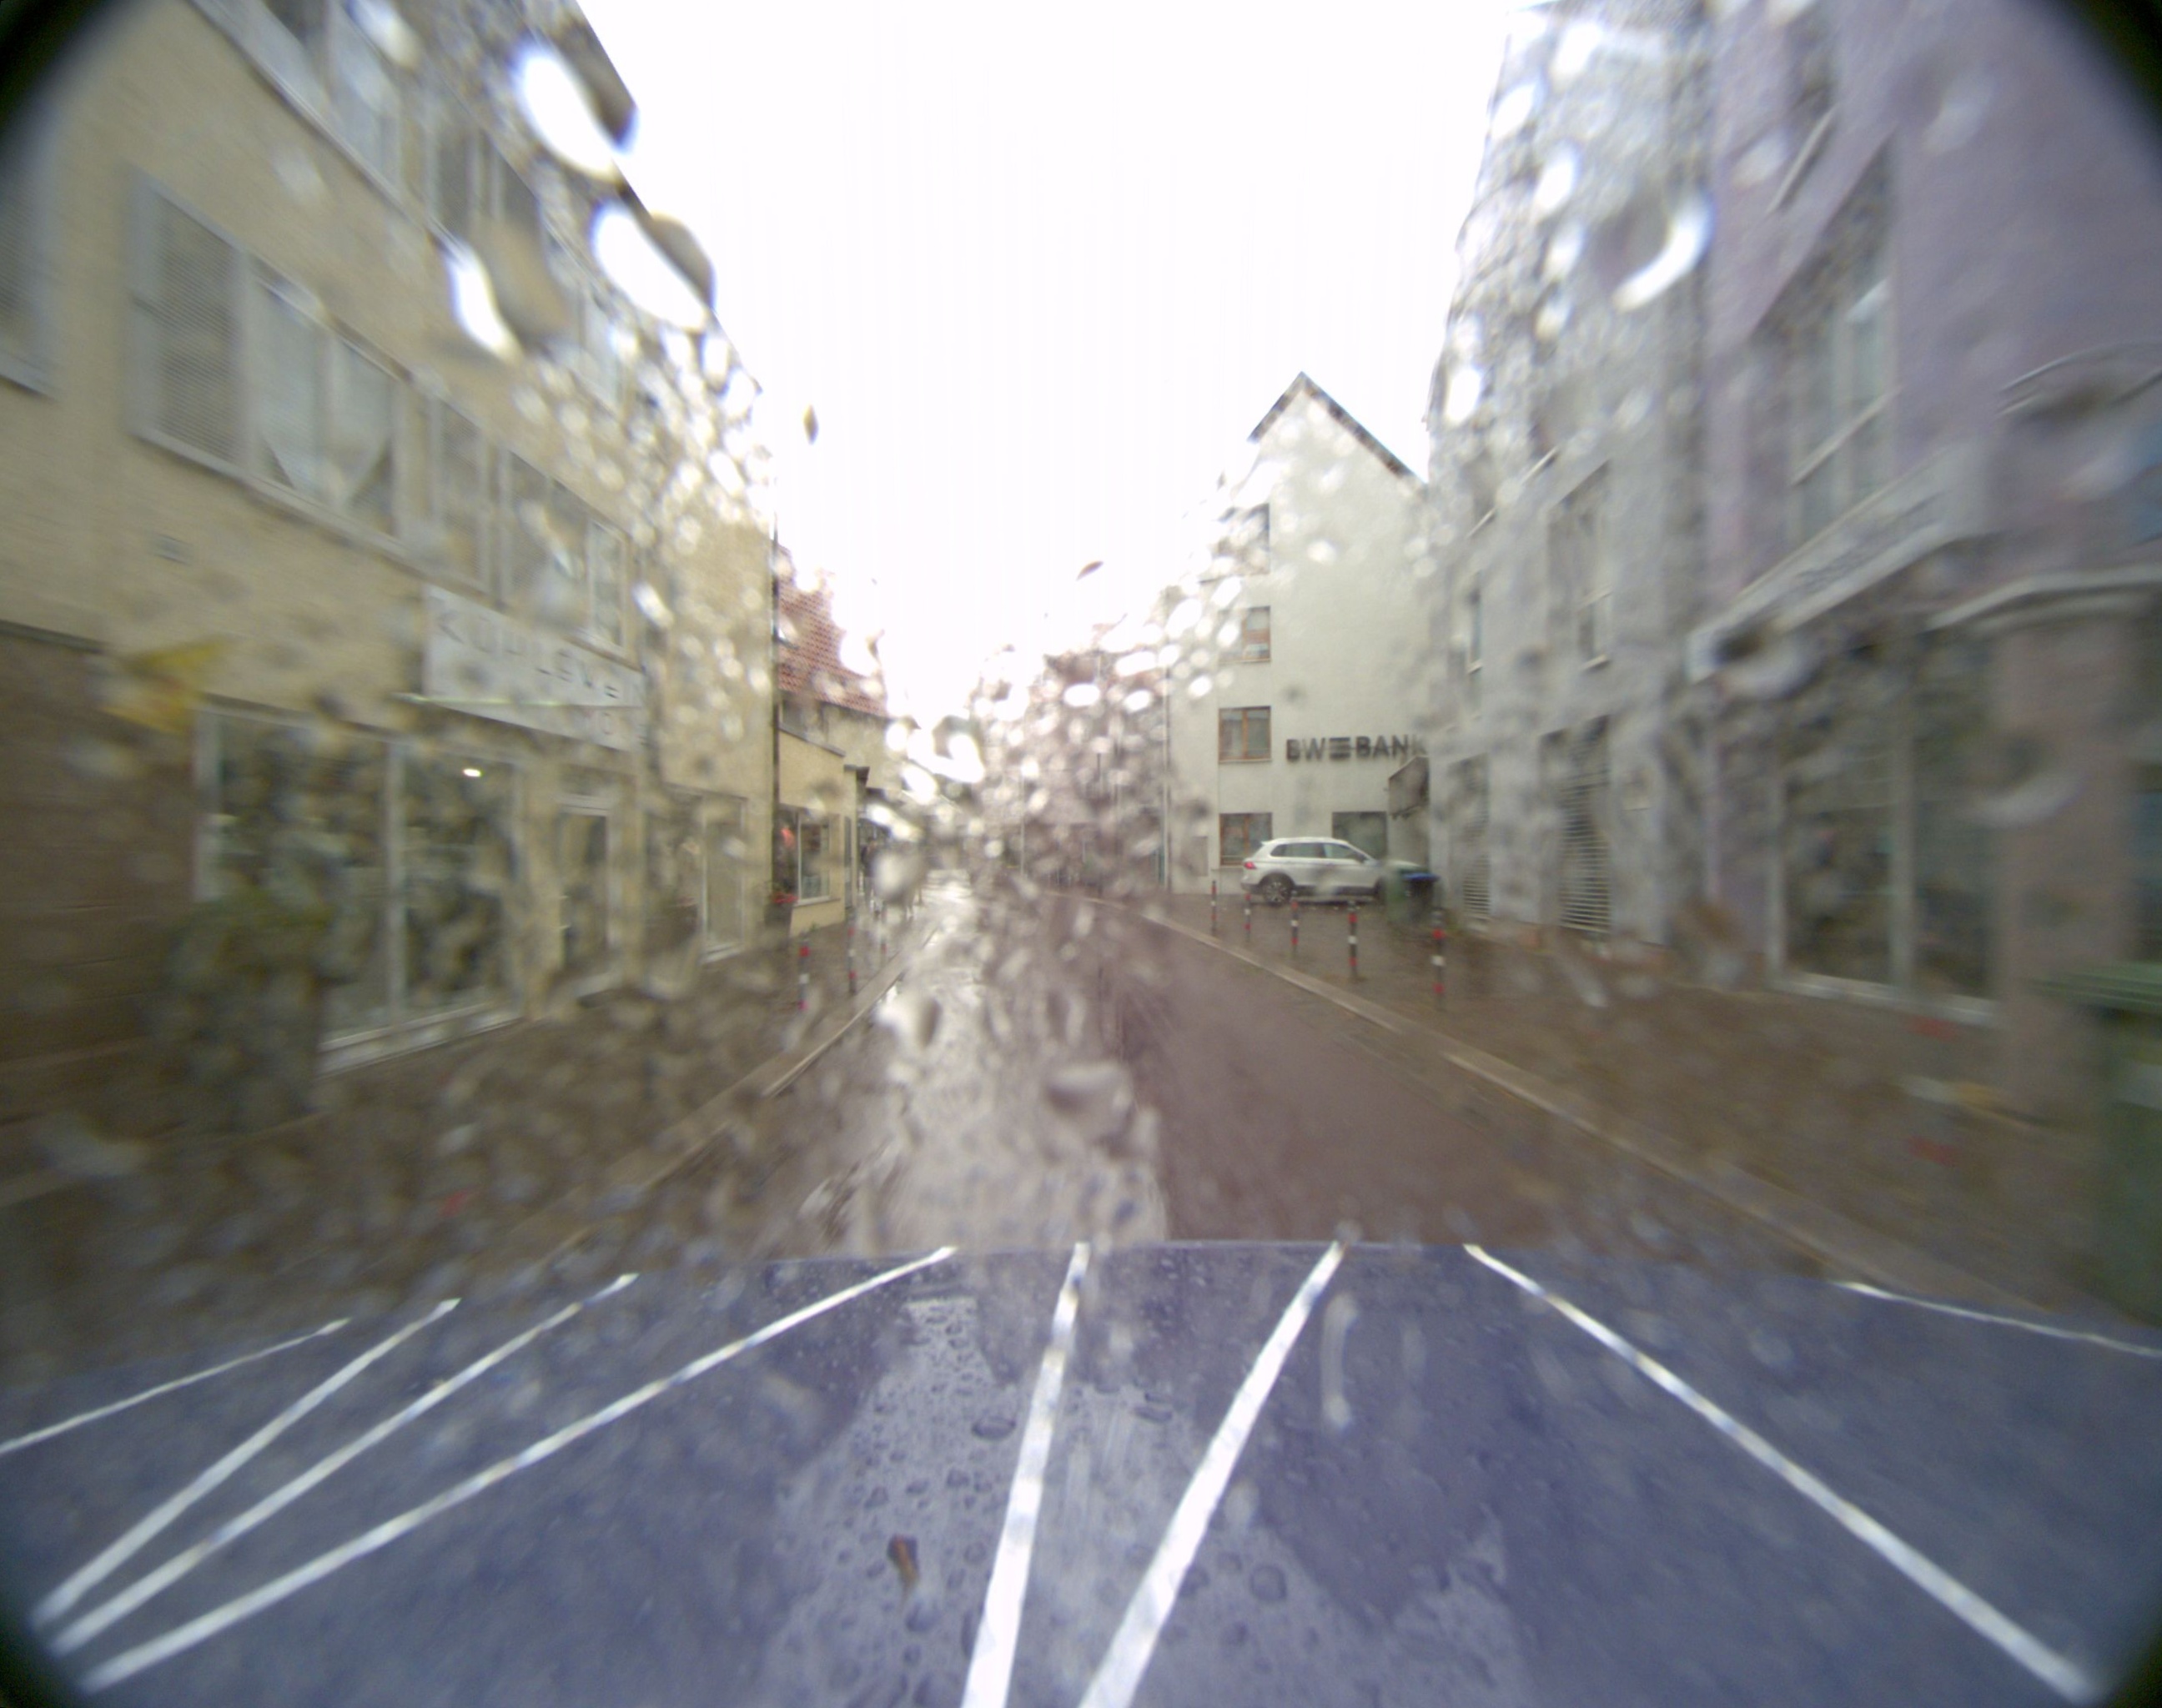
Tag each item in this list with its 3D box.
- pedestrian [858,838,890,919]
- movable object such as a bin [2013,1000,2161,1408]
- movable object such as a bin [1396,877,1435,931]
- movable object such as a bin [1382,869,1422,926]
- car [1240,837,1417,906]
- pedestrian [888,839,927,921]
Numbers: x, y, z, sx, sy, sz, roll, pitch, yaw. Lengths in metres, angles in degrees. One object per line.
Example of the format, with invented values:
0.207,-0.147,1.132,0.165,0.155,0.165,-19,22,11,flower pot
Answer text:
-4.958,0.574,18.211,0.656,1.892,0.658,1,2,-19,pedestrian
3.375,1.016,2.136,0.688,1.072,0.677,-1,1,-2,movable object such as a bin
5.808,0.867,13.218,0.461,0.891,0.449,-1,2,-5,movable object such as a bin
5.840,0.788,13.831,0.488,0.983,0.573,-1,2,-1,movable object such as a bin
6.031,0.410,18.905,3.991,1.575,1.834,-1,2,14,car
-4.147,0.601,18.116,0.775,1.894,0.804,1,2,-19,pedestrian
